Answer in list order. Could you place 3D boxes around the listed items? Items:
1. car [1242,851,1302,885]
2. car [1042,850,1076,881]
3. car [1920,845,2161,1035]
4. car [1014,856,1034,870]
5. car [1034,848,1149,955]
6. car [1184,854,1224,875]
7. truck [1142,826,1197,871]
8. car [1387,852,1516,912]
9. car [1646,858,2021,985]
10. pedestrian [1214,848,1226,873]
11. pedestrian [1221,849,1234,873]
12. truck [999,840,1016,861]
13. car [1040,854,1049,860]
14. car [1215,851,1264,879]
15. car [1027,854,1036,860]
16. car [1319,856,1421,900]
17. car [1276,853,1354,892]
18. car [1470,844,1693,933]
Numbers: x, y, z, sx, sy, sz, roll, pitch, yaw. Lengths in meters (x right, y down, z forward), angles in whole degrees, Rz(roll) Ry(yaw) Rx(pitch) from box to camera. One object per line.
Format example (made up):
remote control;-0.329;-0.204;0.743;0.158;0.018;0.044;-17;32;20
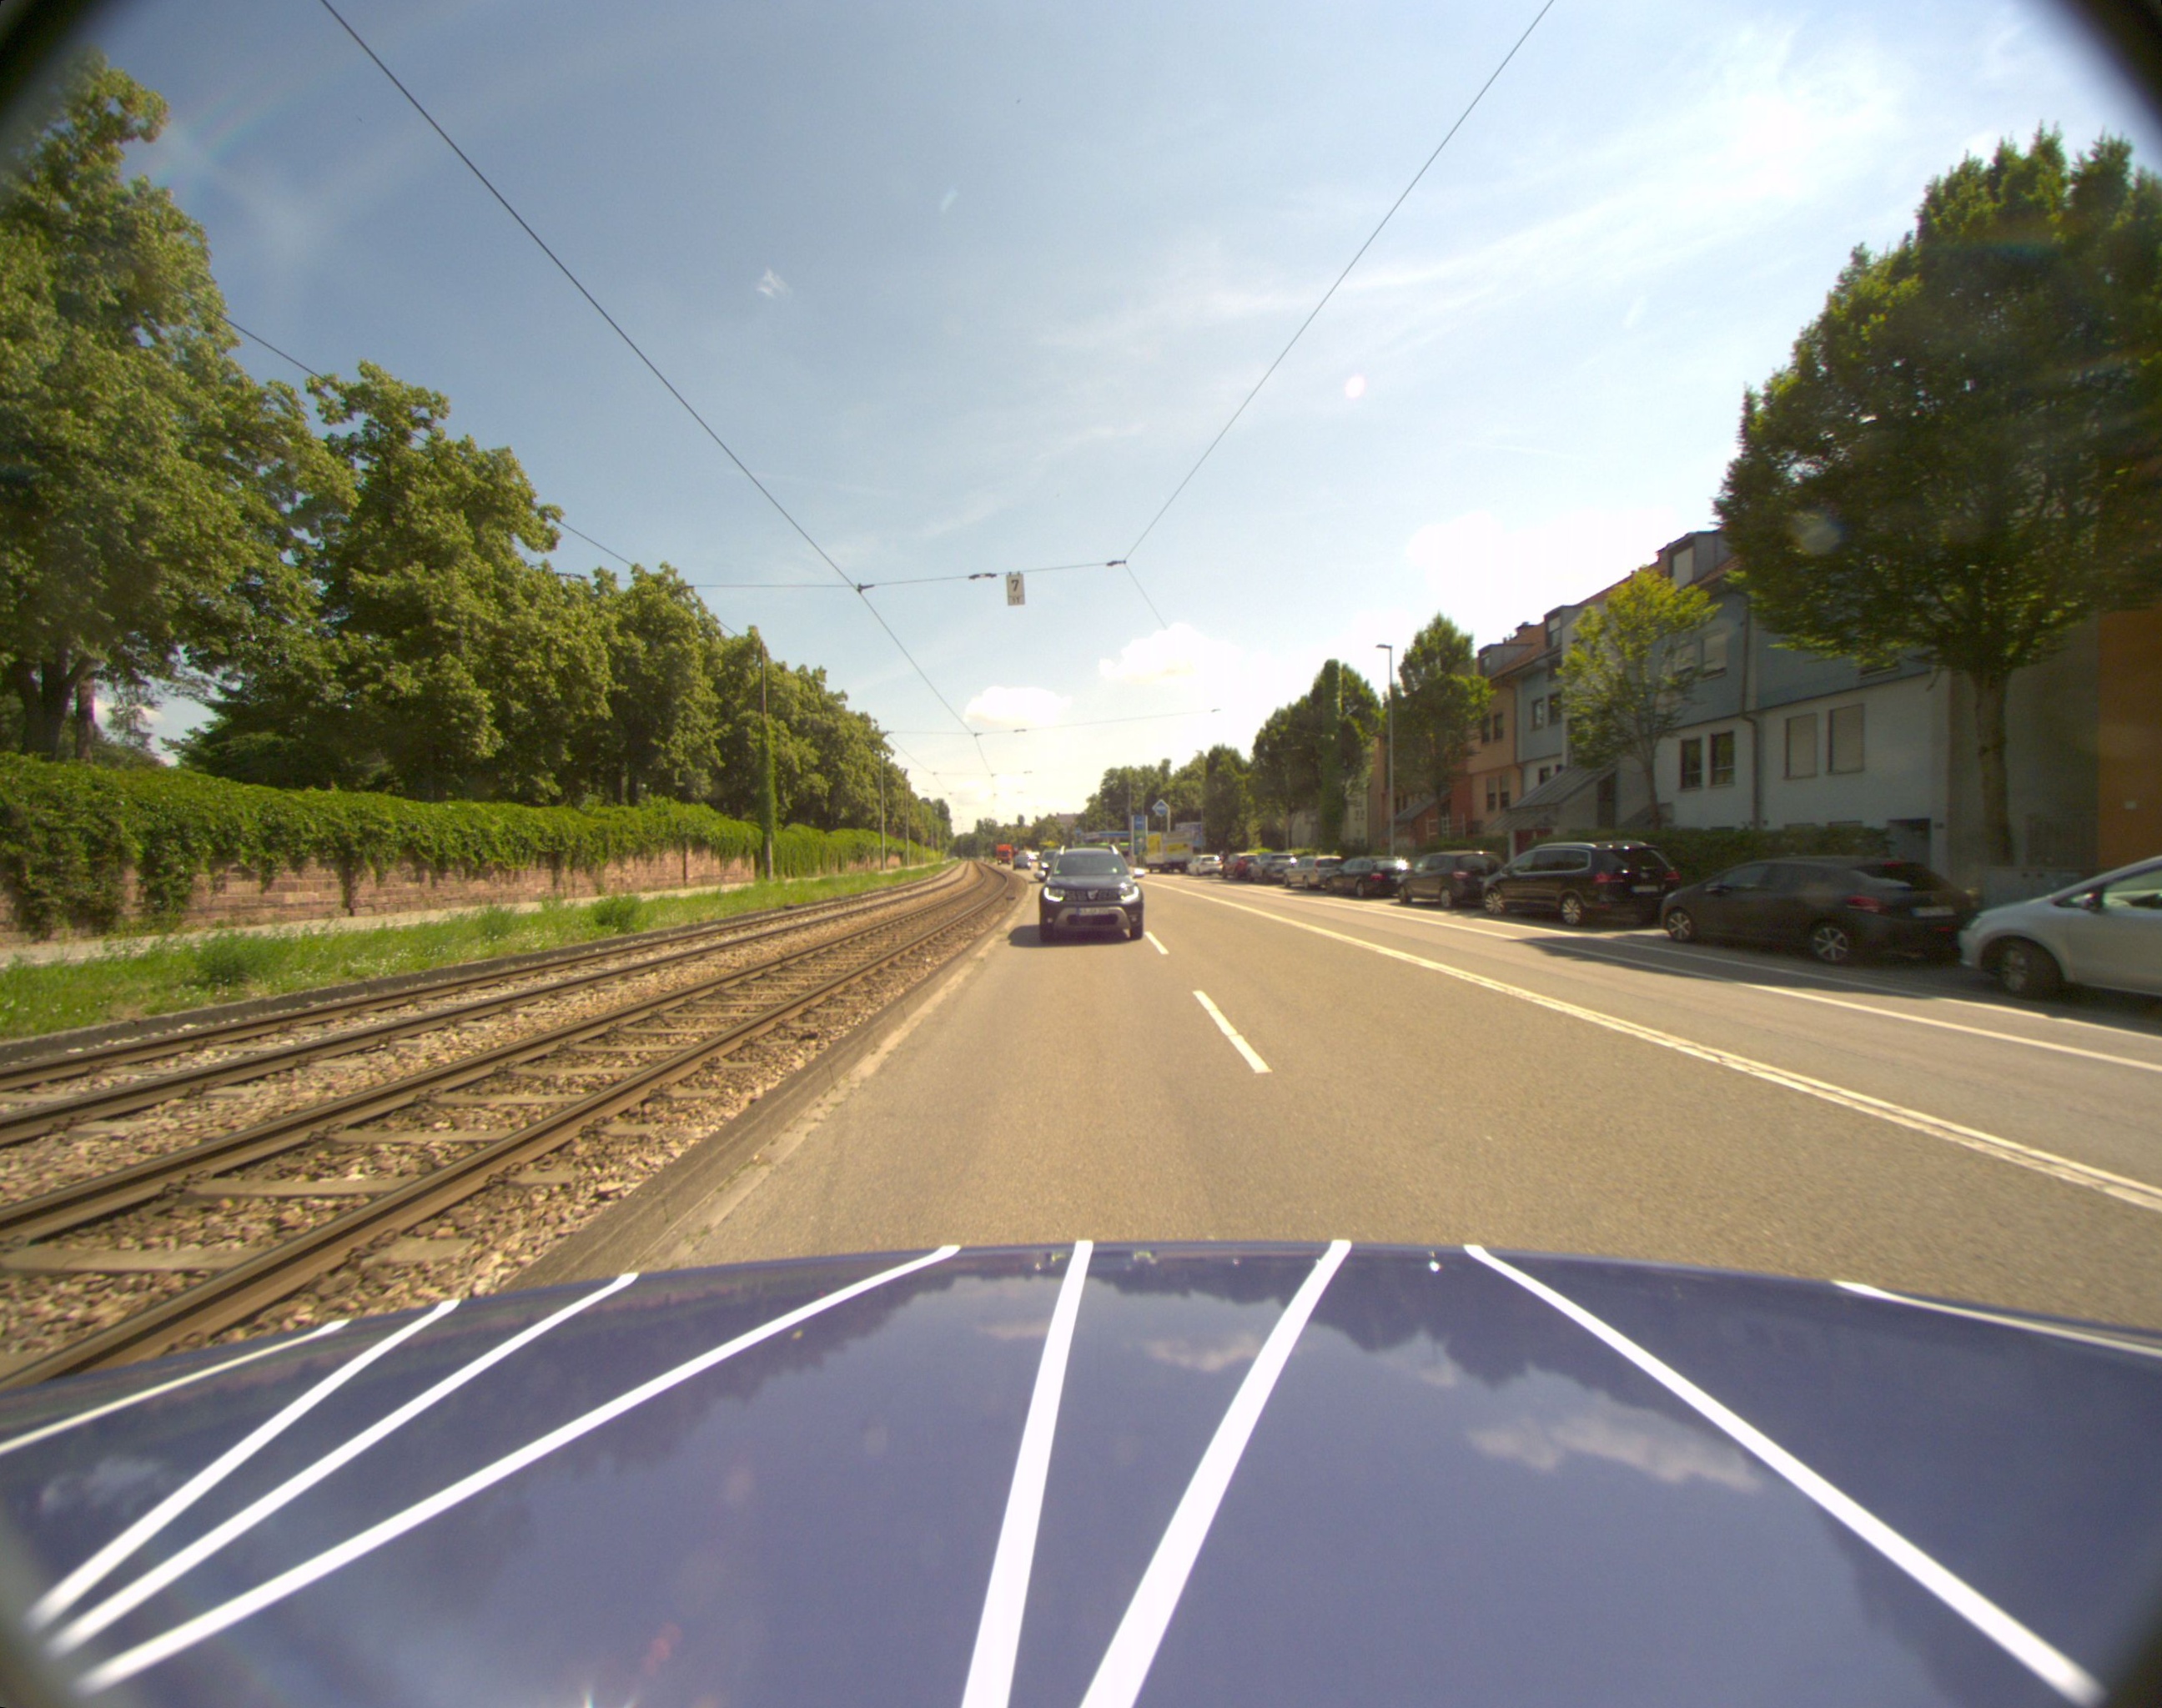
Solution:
car;10.005;0.692;40.130;1.660;1.600;4.685;-3;0;-4
car;-1.268;0.628;43.503;1.802;1.683;4.143;-1;0;-2
car;10.754;0.788;6.527;1.721;1.742;4.903;0;0;1
car;-6.077;0.965;80.459;1.999;1.346;3.998;2;0;-4
car;0.055;0.748;14.621;1.802;1.652;4.785;-2;1;-3
car;8.727;0.714;54.355;1.661;1.402;4.394;0;0;-7
truck;7.586;-0.431;66.261;2.840;3.528;8.165;-3;0;-7
car;10.869;0.745;22.664;1.660;1.608;4.284;0;1;-1
car;11.001;0.859;11.611;1.602;1.463;4.086;0;1;-1
pedestrian;10.515;0.479;57.627;0.642;1.911;0.710;0;1;36
pedestrian;10.964;0.521;56.871;0.685;1.784;0.702;-1;1;-33
truck;-13.216;-0.701;136.514;2.847;3.574;8.699;-1;1;-6
car;-8.913;0.688;184.384;1.999;1.379;3.998;0;0;-6
car;9.555;0.634;46.021;1.661;1.600;4.171;-1;0;-7
car;-11.830;0.680;183.011;1.999;1.379;3.998;0;0;-6
car;10.692;0.822;28.548;1.746;1.438;4.962;-2;0;-3
car;10.560;0.772;34.616;1.660;1.499;4.893;-3;1;-4
car;10.943;0.668;17.151;1.755;1.706;4.887;0;0;-1
